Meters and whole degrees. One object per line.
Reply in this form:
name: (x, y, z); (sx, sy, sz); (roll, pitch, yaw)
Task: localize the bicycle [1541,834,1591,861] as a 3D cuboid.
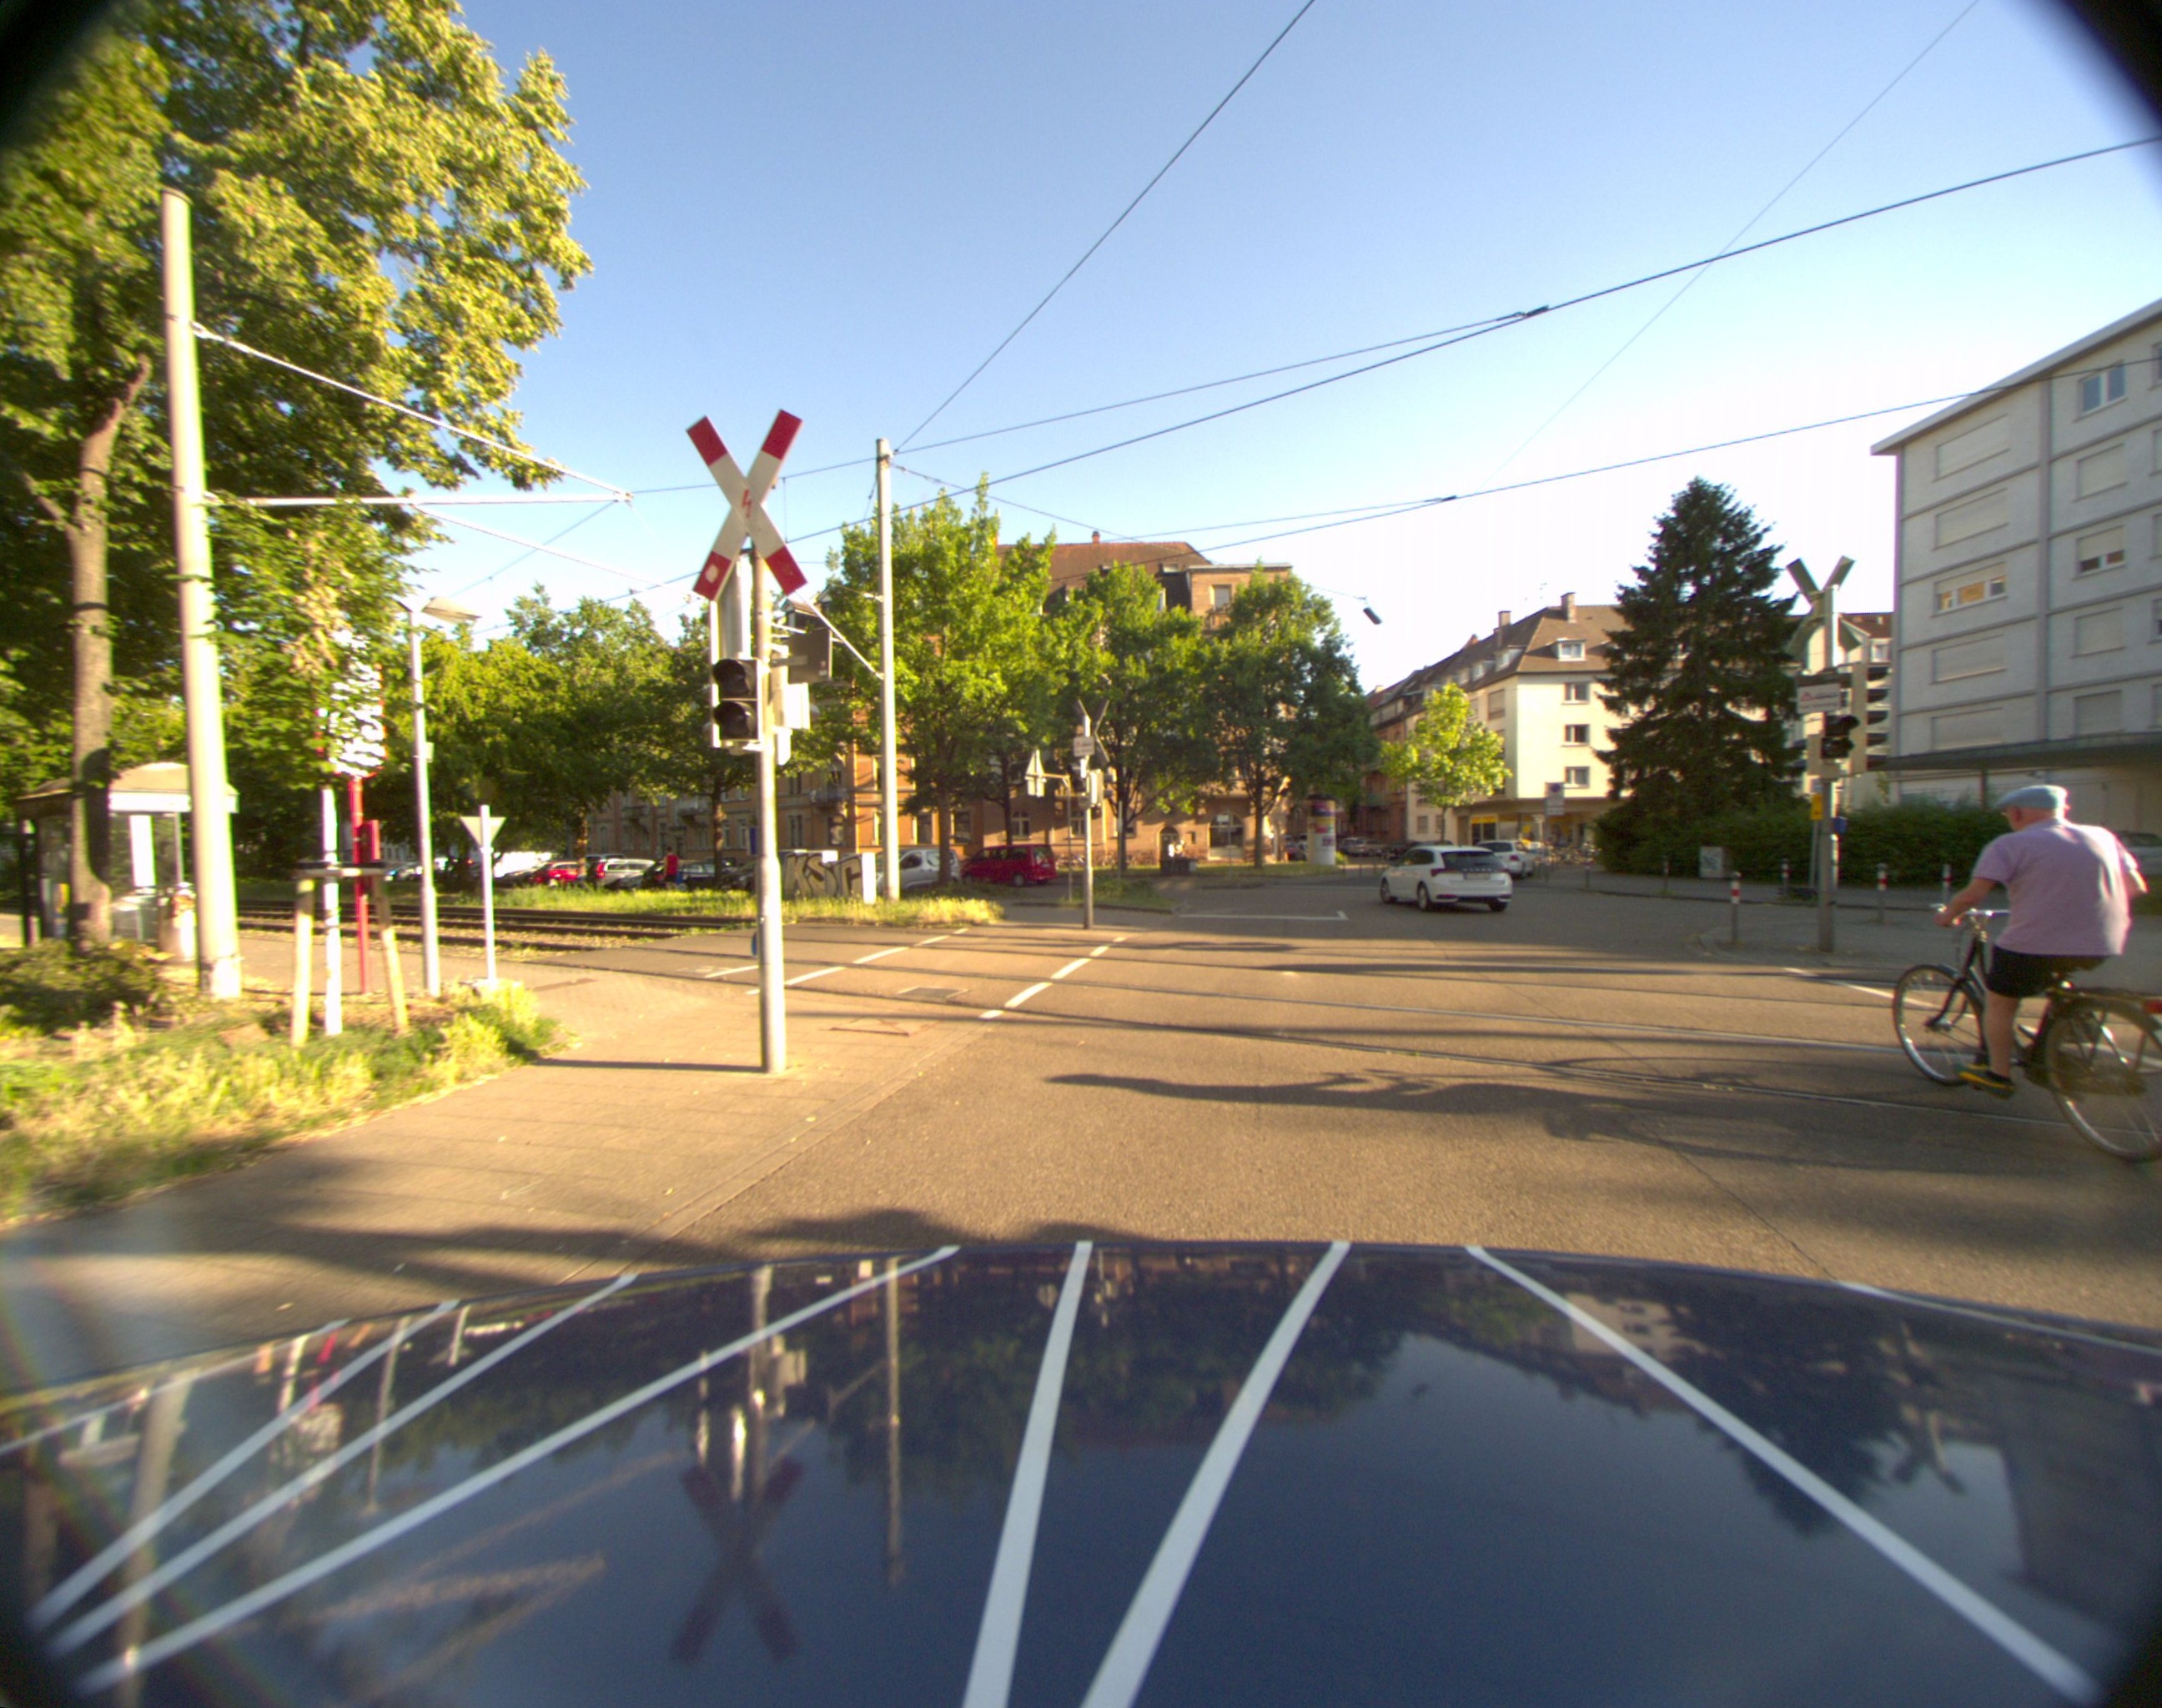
bicycle: (28.033, -0.396, 43.992); (0.880, 1.437, 3.379); (-1, 2, 4)

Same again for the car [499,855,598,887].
car: (-28.980, 0.895, 41.444); (1.761, 1.571, 4.008); (0, 1, 33)

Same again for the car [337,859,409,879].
car: (-57.358, 1.201, 61.609); (1.679, 1.480, 4.008); (0, 1, 35)

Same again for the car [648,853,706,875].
car: (-28.340, 0.695, 53.264); (4.277, 1.376, 1.772); (0, 4, 36)

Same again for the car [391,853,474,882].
car: (-44.691, 0.909, 52.417); (1.679, 1.822, 4.008); (0, 1, 35)

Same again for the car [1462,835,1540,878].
car: (15.813, 0.059, 28.498); (1.918, 1.442, 4.304); (-1, 1, 38)

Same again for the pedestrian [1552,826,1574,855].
pedestrian: (32.137, -0.908, 50.670); (0.890, 1.864, 0.852); (-1, 2, 1)

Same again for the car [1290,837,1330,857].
car: (16.892, -0.563, 56.132); (1.872, 1.392, 4.000); (-1, 1, 2)

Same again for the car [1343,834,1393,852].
car: (24.695, -0.975, 65.415); (4.006, 1.497, 1.869); (-2, 1, -28)

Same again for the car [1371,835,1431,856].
car: (24.986, -0.682, 59.392); (4.002, 1.559, 1.871); (-1, 1, -14)

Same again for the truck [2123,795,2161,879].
truck: (33.618, -0.496, 21.289); (1.998, 2.520, 4.971); (-1, 1, 1)

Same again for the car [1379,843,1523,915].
car: (8.403, 0.497, 17.669); (1.705, 1.448, 4.063); (-1, 1, 6)

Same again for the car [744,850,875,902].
car: (-10.197, 0.764, 28.912); (1.945, 1.682, 4.457); (1, 2, 29)

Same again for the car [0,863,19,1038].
car: (-11.881, 1.039, 5.525); (4.426, 1.678, 1.737); (-3, 2, -36)

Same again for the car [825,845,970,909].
car: (-6.137, 0.696, 25.906); (1.944, 1.904, 4.562); (1, 2, 37)

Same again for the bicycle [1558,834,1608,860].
bicycle: (29.129, -0.430, 44.171); (0.880, 1.437, 3.379); (-1, 2, 4)

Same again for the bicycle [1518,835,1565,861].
bicycle: (26.696, -0.379, 44.117); (0.880, 1.437, 3.379); (-1, 2, 4)

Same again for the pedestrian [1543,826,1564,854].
pedestrian: (32.035, -0.950, 51.506); (0.890, 1.864, 0.852); (-1, 2, 1)

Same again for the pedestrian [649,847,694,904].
pedestrian: (-14.224, 0.720, 26.378); (1.146, 1.908, 0.907); (0, 2, 35)

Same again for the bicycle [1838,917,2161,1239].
bicycle: (4.828, 0.961, 3.872); (0.699, 1.048, 2.127); (0, 2, 25)

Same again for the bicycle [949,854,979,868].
bicycle: (-7.667, 0.459, 49.827); (1.898, 0.843, 0.525); (-2, 1, -1)

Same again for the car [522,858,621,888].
car: (-26.963, 0.986, 40.317); (1.679, 1.415, 4.008); (0, 1, 35)

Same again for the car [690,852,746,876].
car: (-24.016, 0.654, 50.203); (3.698, 1.467, 1.692); (-1, 4, 35)

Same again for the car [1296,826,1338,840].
car: (24.809, -2.232, 79.819); (4.006, 1.392, 1.869); (-2, 1, -28)

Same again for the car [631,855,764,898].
car: (-16.485, 0.899, 32.872); (1.994, 1.563, 4.725); (1, 2, 37)

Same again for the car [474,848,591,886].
car: (-31.011, 0.685, 43.103); (2.149, 2.026, 4.870); (0, 1, 35)

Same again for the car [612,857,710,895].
car: (-18.768, 0.938, 34.043); (1.714, 1.505, 3.416); (-1, 1, 37)

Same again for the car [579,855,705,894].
car: (-20.675, 0.899, 35.952); (1.994, 1.563, 4.725); (1, 2, 37)

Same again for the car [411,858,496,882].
car: (-41.187, 1.021, 49.956); (1.679, 1.480, 4.008); (0, 1, 35)

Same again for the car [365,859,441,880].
car: (-51.611, 1.158, 57.869); (1.679, 1.480, 4.008); (0, 1, 35)

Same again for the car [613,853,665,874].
car: (-32.587, 0.704, 55.993); (3.877, 1.430, 1.772); (-1, 3, 35)

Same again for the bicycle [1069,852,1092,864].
bicycle: (-0.032, 0.271, 49.645); (1.509, 0.728, 0.368); (-1, 2, -1)

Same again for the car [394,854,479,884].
car: (-43.152, 0.968, 50.970); (1.679, 1.822, 4.008); (0, 1, 35)

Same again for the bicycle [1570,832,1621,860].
bicycle: (30.214, -0.497, 44.702); (0.880, 1.437, 3.379); (-1, 3, 4)

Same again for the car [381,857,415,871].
car: (-78.904, 1.130, 87.767); (4.380, 1.434, 1.885); (-1, 3, 35)

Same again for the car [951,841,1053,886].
car: (-3.783, 0.422, 35.870); (4.758, 1.923, 1.785); (0, 4, 37)

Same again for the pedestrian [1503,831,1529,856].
pedestrian: (29.562, -0.736, 51.654); (1.214, 1.657, 0.964); (-1, 2, 1)

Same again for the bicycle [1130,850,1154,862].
bicycle: (4.011, 0.143, 49.786); (1.509, 0.728, 0.368); (-3, 2, -1)

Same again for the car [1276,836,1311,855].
car: (17.049, -0.692, 61.123); (1.872, 1.392, 4.000); (-1, 1, 2)

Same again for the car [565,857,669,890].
car: (-22.813, 0.937, 37.460); (1.679, 1.452, 4.008); (0, 1, 35)

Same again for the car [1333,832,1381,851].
car: (24.927, -1.147, 68.604); (4.006, 1.626, 1.869); (-2, 1, -28)

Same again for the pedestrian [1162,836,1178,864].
pedestrian: (5.469, -0.255, 46.799); (0.911, 1.708, 0.676); (-2, 0, 3)

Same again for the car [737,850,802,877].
car: (-19.294, 0.590, 47.011); (3.871, 1.467, 1.692); (-1, 3, 33)

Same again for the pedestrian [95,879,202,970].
pedestrian: (-14.231, 1.043, 11.610); (0.874, 1.265, 0.826); (0, 2, 27)

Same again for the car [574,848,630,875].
car: (-37.273, 0.567, 59.094); (4.712, 1.873, 1.916); (-1, 4, 35)

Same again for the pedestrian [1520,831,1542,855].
pedestrian: (30.849, -0.759, 52.120); (0.963, 1.560, 0.891); (-1, 2, 2)

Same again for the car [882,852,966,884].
car: (-8.068, 0.686, 39.011); (4.258, 1.426, 1.785); (0, 4, 37)

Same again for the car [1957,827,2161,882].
car: (29.779, -0.028, 23.015); (1.998, 1.524, 4.000); (-1, 1, 4)

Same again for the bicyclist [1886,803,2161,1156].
bicyclist: (4.815, 0.552, 3.866); (0.699, 1.579, 0.875); (0, 2, 25)

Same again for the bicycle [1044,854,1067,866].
bicycle: (-1.646, 0.388, 49.245); (1.509, 0.728, 0.368); (-1, 2, -1)

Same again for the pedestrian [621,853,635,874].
pedestrian: (-37.913, 0.822, 63.584); (0.720, 1.709, 0.676); (0, 4, 36)

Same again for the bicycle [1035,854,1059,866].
bicycle: (-2.222, 0.393, 49.626); (1.509, 0.728, 0.368); (-1, 2, -1)

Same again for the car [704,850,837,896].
car: (-12.357, 0.692, 30.485); (1.944, 1.563, 4.562); (1, 2, 37)

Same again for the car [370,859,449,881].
car: (-49.317, 1.114, 55.853); (1.679, 1.480, 4.008); (0, 1, 35)

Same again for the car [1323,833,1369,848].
car: (24.872, -1.259, 71.286); (4.006, 1.392, 1.869); (-2, 1, -28)

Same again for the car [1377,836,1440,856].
car: (24.165, -0.597, 56.171); (4.002, 1.392, 1.870); (-1, 1, -16)

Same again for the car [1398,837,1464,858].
car: (24.778, -0.452, 53.777); (4.002, 1.392, 1.870); (-1, 1, -16)
